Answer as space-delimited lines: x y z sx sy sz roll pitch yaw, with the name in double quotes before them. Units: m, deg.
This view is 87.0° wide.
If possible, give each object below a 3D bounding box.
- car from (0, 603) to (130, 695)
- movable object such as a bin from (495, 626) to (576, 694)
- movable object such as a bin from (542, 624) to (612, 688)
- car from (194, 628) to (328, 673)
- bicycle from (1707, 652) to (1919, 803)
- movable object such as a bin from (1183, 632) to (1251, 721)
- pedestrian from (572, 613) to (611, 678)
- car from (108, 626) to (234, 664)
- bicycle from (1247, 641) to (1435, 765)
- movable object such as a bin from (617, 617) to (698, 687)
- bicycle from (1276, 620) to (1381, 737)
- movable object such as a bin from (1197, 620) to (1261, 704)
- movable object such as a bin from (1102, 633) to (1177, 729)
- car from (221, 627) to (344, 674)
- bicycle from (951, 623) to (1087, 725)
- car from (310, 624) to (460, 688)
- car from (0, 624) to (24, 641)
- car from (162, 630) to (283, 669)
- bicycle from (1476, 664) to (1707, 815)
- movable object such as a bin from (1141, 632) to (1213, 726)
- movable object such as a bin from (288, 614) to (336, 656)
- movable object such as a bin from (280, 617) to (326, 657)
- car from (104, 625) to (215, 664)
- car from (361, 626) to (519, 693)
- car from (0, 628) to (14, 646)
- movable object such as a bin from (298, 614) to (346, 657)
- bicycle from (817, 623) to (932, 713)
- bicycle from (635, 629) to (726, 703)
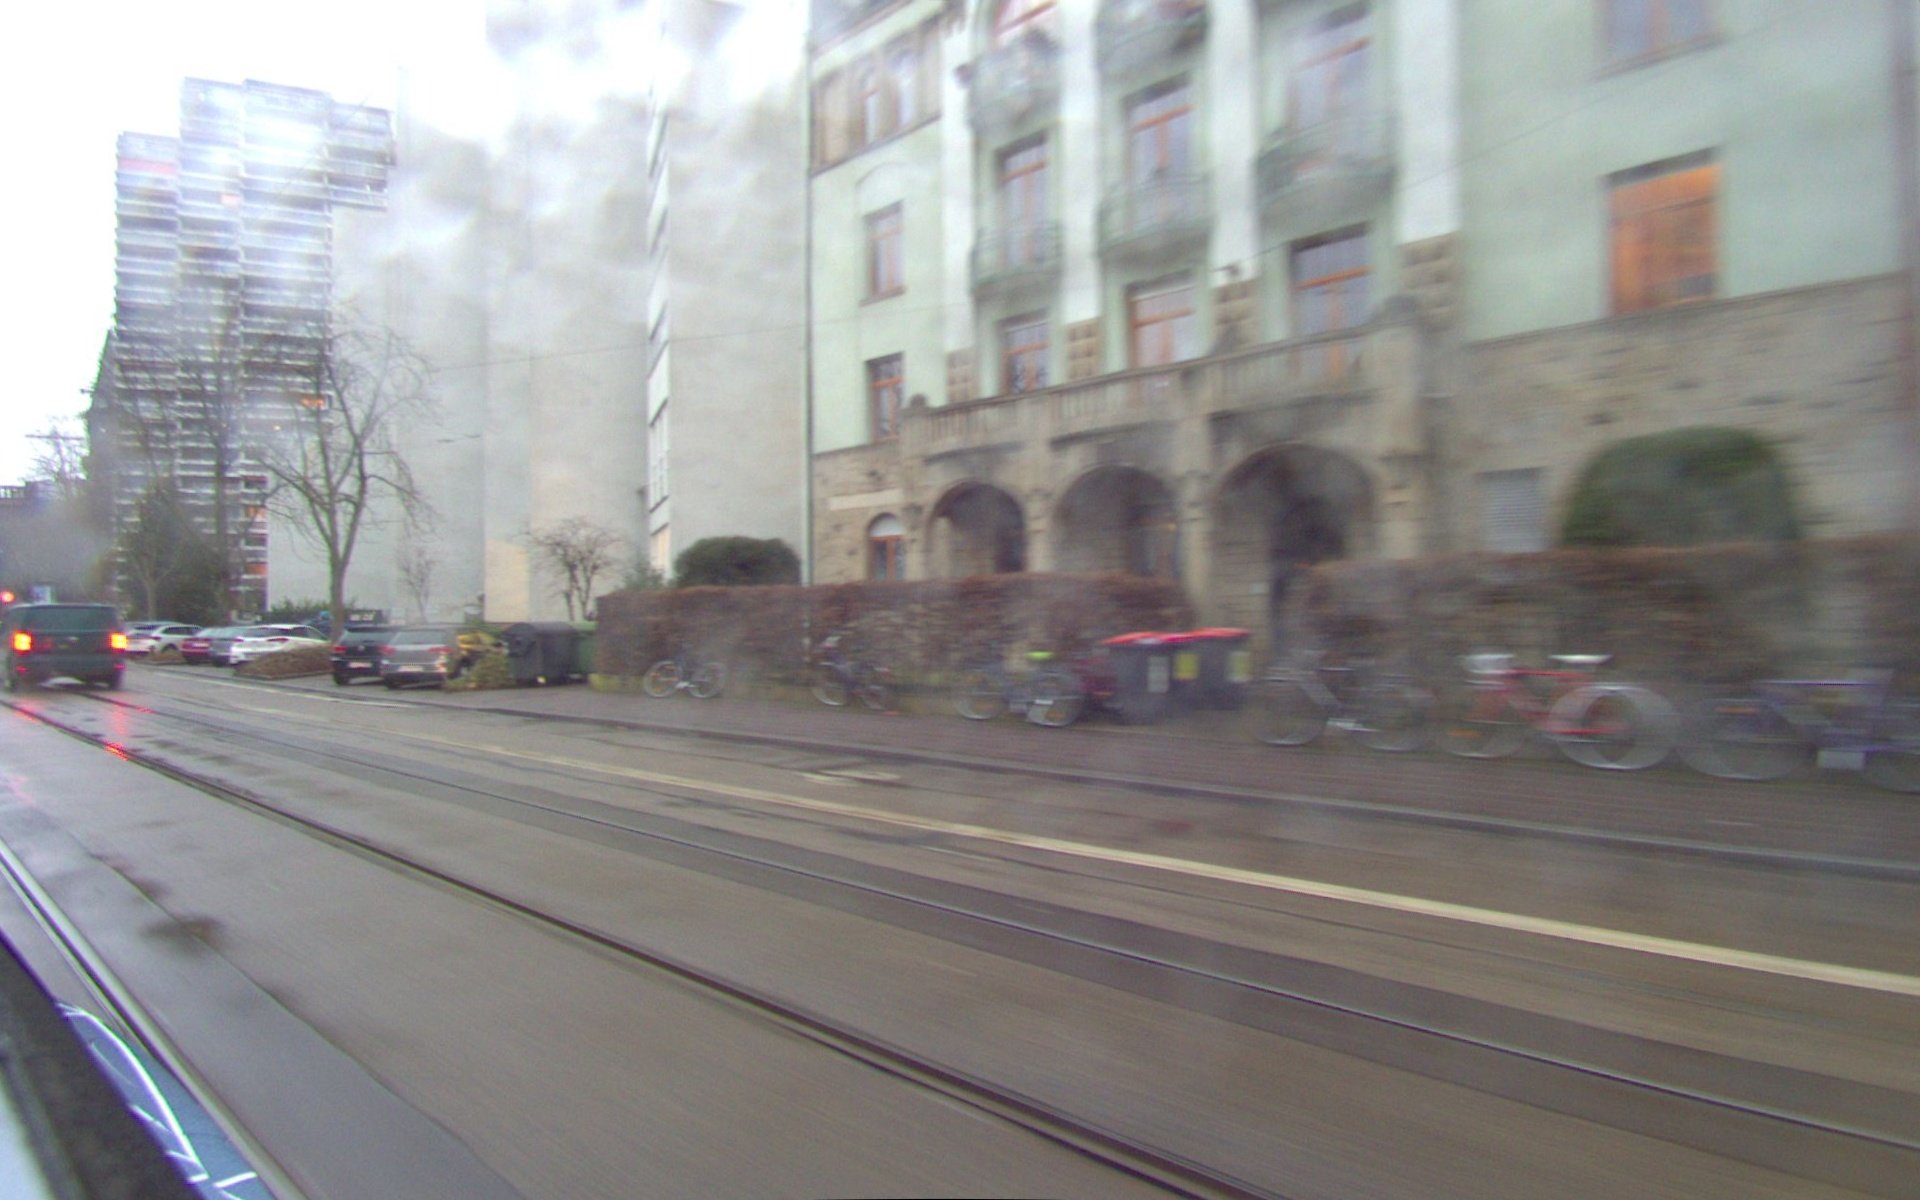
"car" -21.396 1.139 23.751 5.095 1.937 2.025 -2 -3 40
"movable object such as a bin" -9.403 1.314 22.465 1.103 1.461 1.259 -1 -2 19
"movable object such as a bin" -8.984 1.309 23.781 1.103 1.461 1.085 -1 -2 20
"car" -24.747 1.768 36.004 1.715 1.474 3.992 0 -2 6
"bicycle" 6.818 0.954 7.840 1.591 1.039 0.687 0 -1 32
"movable object such as a bin" 3.447 1.006 13.541 0.739 1.146 0.689 -2 -2 27
"pedestrian" -9.830 1.205 26.977 0.972 1.690 0.590 -3 -3 41
"car" -32.165 1.813 41.392 1.716 1.455 3.990 0 -2 8
"bicycle" 3.792 0.988 10.142 1.594 1.038 0.685 3 0 41
"movable object such as a bin" -6.618 1.117 22.136 1.248 1.461 1.327 1 -3 -42
"bicycle" 4.394 0.900 12.007 0.490 1.273 1.571 4 1 44
"movable object such as a bin" 3.784 0.861 14.229 0.739 1.146 0.689 -2 -2 27
"movable object such as a bin" 2.233 0.985 12.561 0.739 1.146 0.689 -2 -2 27
"car" -22.165 1.642 33.304 1.710 1.434 3.856 0 -2 -5
"bicycle" 0.746 0.924 12.890 1.591 1.222 0.687 -2 -3 32
"car" -14.557 1.369 25.879 1.804 1.482 4.004 0 -2 -4
"car" -86.795 2.946 90.967 3.939 1.497 1.673 1 -3 -43
"car" -27.190 1.799 37.497 1.722 1.362 4.354 1 -2 -7
"bicycle" 5.393 1.142 8.693 1.594 1.038 0.686 3 0 36
"movable object such as a bin" 2.777 0.991 12.920 0.739 1.146 0.689 -2 -2 27
"movable object such as a bin" -30.210 1.642 47.189 1.393 1.874 1.553 -4 -4 42
"movable object such as a bin" -31.251 1.770 48.116 1.317 1.874 1.553 -4 -4 42
"car" -34.628 1.906 43.900 1.712 1.575 4.000 -1 -2 -1
"car" -12.225 1.361 24.110 1.821 1.439 4.001 -1 -2 -2
"car" -85.177 3.242 88.225 3.939 1.497 1.673 1 -3 -43
"movable object such as a bin" -29.149 1.622 46.238 1.317 1.874 1.553 -4 -4 42
"bicycle" -1.231 0.958 14.479 1.591 1.222 0.624 -2 -3 32
"bicycle" -4.853 1.129 17.538 1.593 1.222 0.686 -2 -3 36
